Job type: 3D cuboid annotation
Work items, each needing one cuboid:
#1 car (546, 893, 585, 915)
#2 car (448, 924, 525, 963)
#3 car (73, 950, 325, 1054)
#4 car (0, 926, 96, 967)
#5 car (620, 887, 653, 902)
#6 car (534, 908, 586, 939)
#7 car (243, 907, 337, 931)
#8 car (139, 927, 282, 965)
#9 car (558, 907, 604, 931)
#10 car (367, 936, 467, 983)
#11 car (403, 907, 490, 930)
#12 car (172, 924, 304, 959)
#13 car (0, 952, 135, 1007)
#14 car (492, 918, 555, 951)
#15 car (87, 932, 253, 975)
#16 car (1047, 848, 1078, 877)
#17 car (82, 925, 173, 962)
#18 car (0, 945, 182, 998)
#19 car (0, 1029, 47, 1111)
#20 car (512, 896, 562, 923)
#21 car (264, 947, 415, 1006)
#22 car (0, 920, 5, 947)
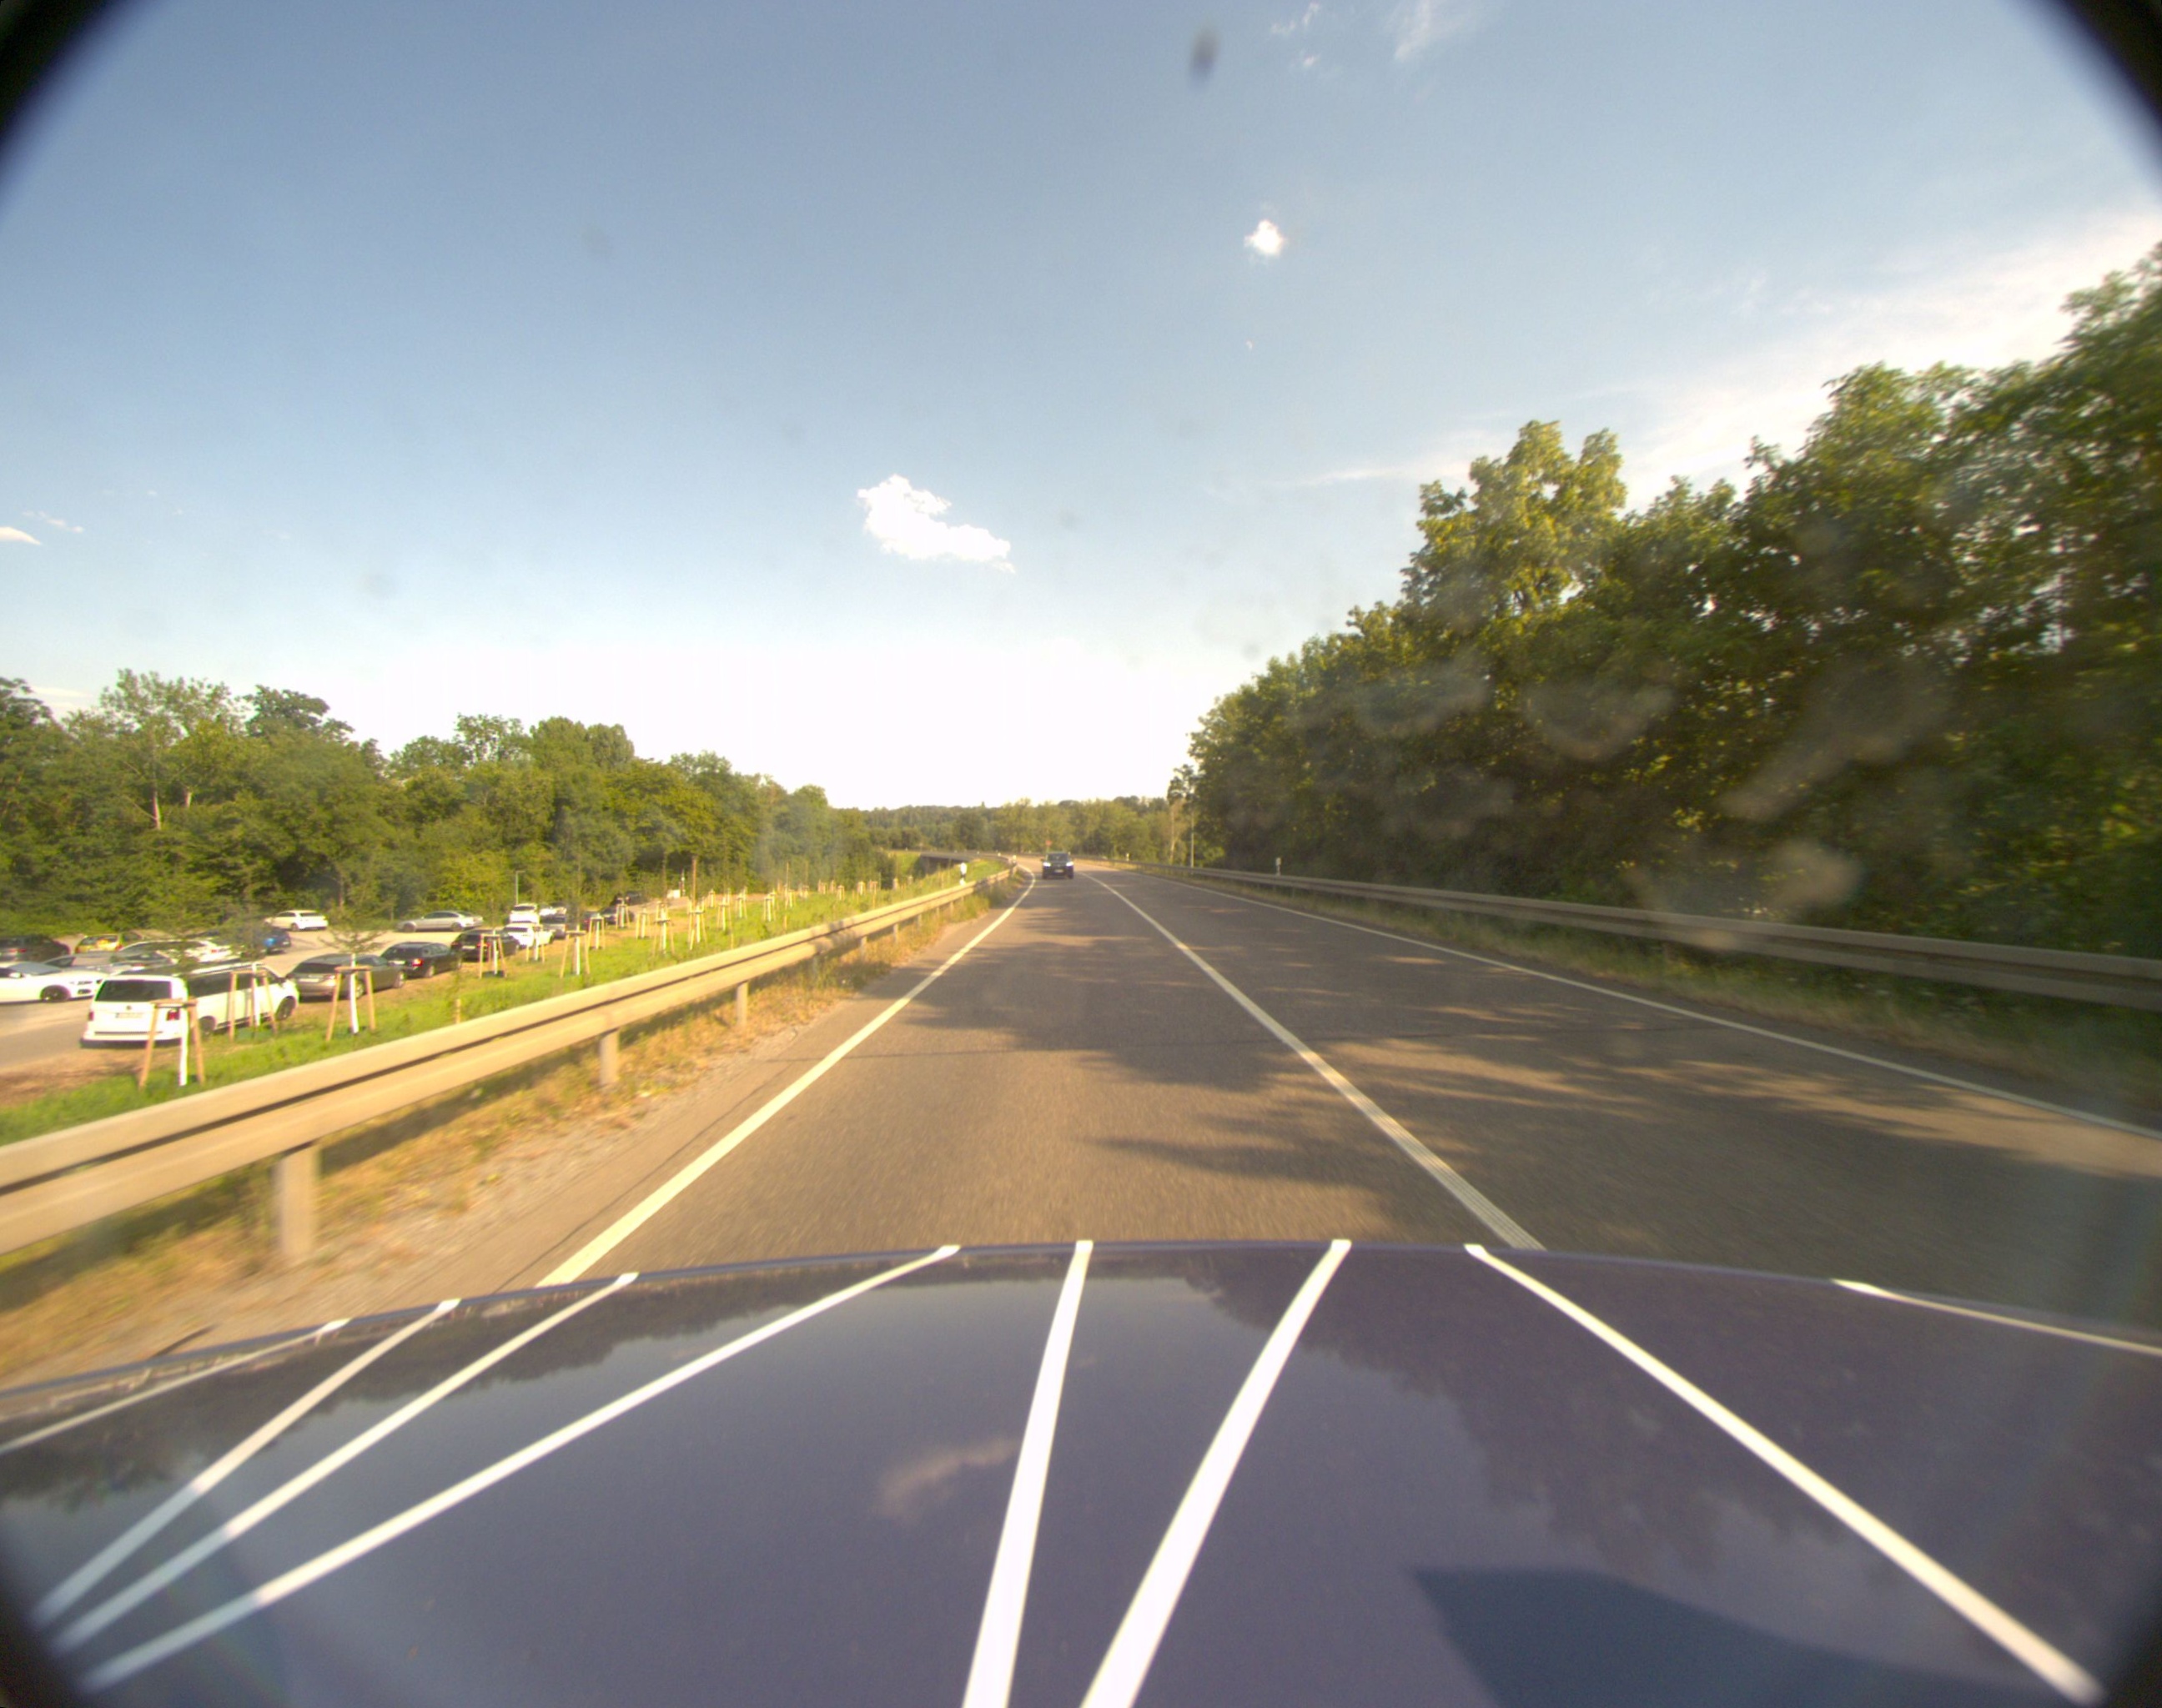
[{"bbox_3d":[-43.515,4.160,64.228,1.661,1.488,4.215,0,1,-19],"label":"car"},{"bbox_3d":[-30.060,4.489,38.567,1.826,1.473,4.387,1,-1,-21],"label":"car"},{"bbox_3d":[-24.971,4.092,21.927,2.128,2.005,5.371,3,-2,-17],"label":"car"},{"bbox_3d":[-47.879,4.206,34.884,1.620,1.447,4.237,1,-1,-28],"label":"car"},{"bbox_3d":[-50.811,4.590,86.845,3.674,1.488,1.663,1,1,31],"label":"car"},{"bbox_3d":[-33.840,4.493,49.497,1.826,1.648,4.249,1,-1,-21],"label":"car"},{"bbox_3d":[-54.258,4.459,52.186,4.248,1.447,1.711,0,-1,-11],"label":"car"},{"bbox_3d":[-41.978,4.391,36.769,4.252,1.447,1.614,0,0,-23],"label":"car"},{"bbox_3d":[-35.567,4.613,54.177,1.826,1.393,4.249,1,-1,-21],"label":"car"},{"bbox_3d":[-28.463,4.472,32.761,1.826,1.473,4.387,1,-1,-21],"label":"car"},{"bbox_3d":[-43.396,4.384,52.050,4.250,1.447,1.615,1,-1,-17],"label":"car"},{"bbox_3d":[-43.210,4.451,39.054,4.252,1.447,1.614,0,-1,-23],"label":"car"},{"bbox_3d":[-36.675,4.408,26.499,4.251,1.489,1.769,-2,0,-22],"label":"car"},{"bbox_3d":[-31.651,4.523,43.283,1.826,1.473,4.249,1,-1,-21],"label":"car"},{"bbox_3d":[-40.541,4.396,33.972,4.422,1.447,1.731,-1,0,-27],"label":"car"},{"bbox_3d":[-1.198,0.491,46.879,1.751,1.645,4.304,0,2,-3],"label":"car"},{"bbox_3d":[-47.457,4.408,37.902,1.502,1.447,3.667,1,-1,-28],"label":"car"},{"bbox_3d":[-37.720,4.439,28.887,4.251,1.447,1.614,-1,1,-23],"label":"car"},{"bbox_3d":[-22.197,4.382,13.564,1.900,1.473,4.776,3,-2,-17],"label":"car"},{"bbox_3d":[-41.916,4.219,58.628,1.661,1.657,4.700,0,1,-16],"label":"car"},{"bbox_3d":[-26.757,4.373,27.694,1.900,1.473,4.776,3,-2,-17],"label":"car"},{"bbox_3d":[-60.775,4.270,40.132,4.253,1.447,1.614,3,-1,-23],"label":"car"}]
